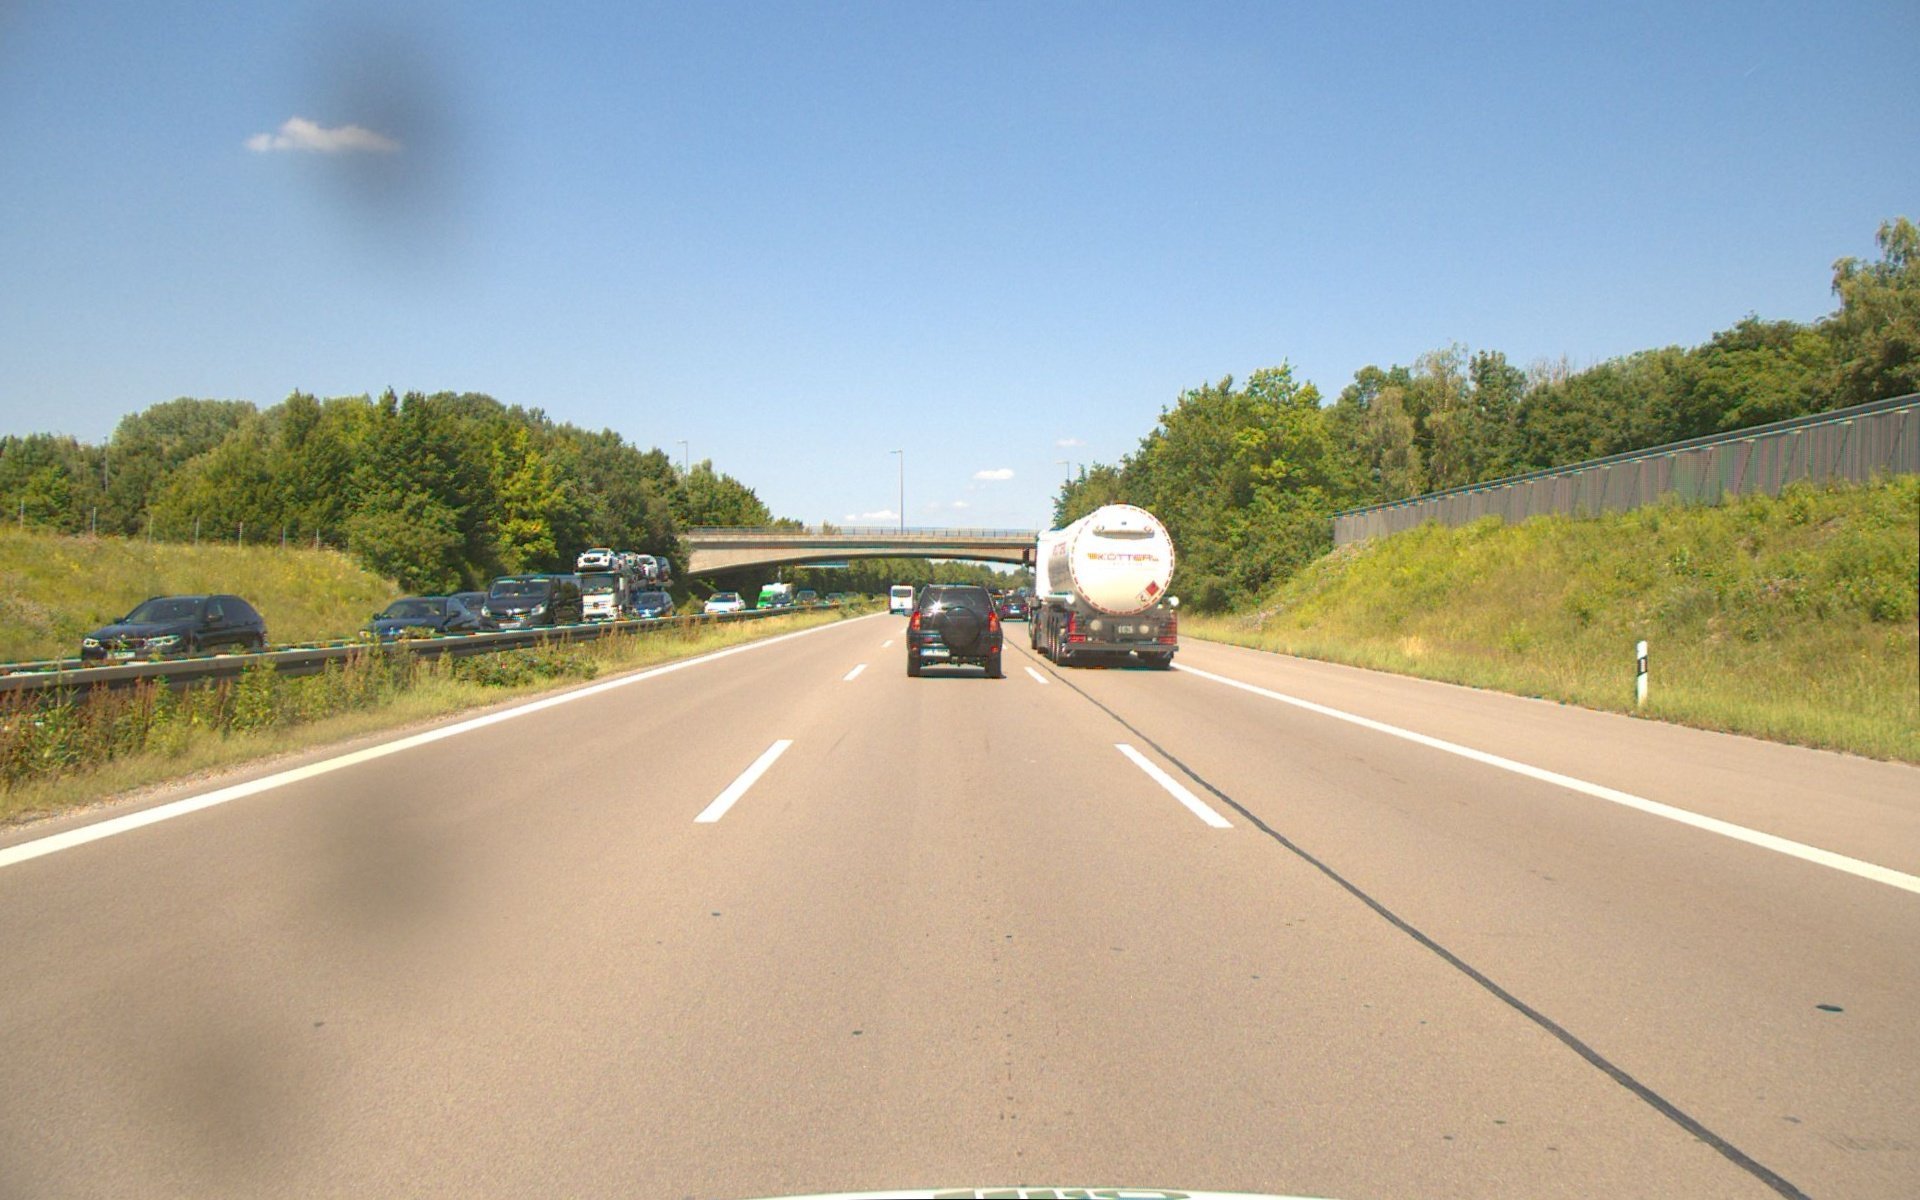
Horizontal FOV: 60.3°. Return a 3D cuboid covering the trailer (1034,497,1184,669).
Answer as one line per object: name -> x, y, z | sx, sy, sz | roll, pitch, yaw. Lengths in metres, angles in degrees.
trailer -> 3.270, -0.354, 39.131 | 2.594, 3.449, 11.152 | 1, 0, 0

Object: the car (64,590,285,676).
car -> -15.260, 0.590, 32.497 | 1.953, 1.536, 5.206 | 0, 0, -1

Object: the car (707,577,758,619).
car -> -11.591, -0.056, 84.639 | 1.953, 2.049, 4.913 | 0, -1, -1

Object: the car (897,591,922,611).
car -> -4.205, 0.117, 138.946 | 1.952, 1.579, 4.000 | 0, -1, 1

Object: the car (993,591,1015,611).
car -> 4.110, 0.050, 154.818 | 1.952, 1.811, 4.261 | 0, 0, 1

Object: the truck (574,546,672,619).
truck -> -20.518, -1.032, 101.980 | 3.147, 4.120, 16.668 | -1, 0, -2

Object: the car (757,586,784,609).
car -> -15.571, -0.184, 136.039 | 1.777, 1.840, 4.381 | 0, 0, -1

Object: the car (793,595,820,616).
car -> -12.291, 0.428, 132.655 | 1.812, 1.601, 4.422 | 0, -1, 0

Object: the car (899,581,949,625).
car -> -1.530, 0.122, 68.529 | 1.953, 1.736, 4.334 | -1, 0, -2

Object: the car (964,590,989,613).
car -> 1.189, 0.126, 120.619 | 1.804, 1.640, 4.000 | 0, -1, 1

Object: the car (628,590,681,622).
car -> -16.130, 0.294, 87.542 | 1.953, 1.642, 4.580 | 0, 0, -1

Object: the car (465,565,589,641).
car -> -11.979, 0.076, 46.201 | 2.047, 1.979, 5.688 | 0, 0, -1

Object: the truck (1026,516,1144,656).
truck -> 3.235, -0.362, 44.283 | 2.584, 3.434, 6.487 | 1, 0, 0

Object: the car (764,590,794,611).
car -> -12.586, 0.039, 115.015 | 1.681, 1.414, 4.000 | 0, 0, 0

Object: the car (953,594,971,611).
car -> 0.197, 0.240, 175.854 | 1.953, 1.780, 4.204 | 0, 0, 0

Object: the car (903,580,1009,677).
car -> -0.098, 0.506, 31.146 | 1.868, 1.694, 3.999 | 0, 0, -1

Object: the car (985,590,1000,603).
car -> 4.333, -0.442, 221.390 | 1.775, 1.777, 3.999 | 0, 0, -2

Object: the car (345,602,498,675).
car -> -11.870, 0.805, 36.844 | 1.836, 1.464, 5.017 | 0, 0, -1

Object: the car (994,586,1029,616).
car -> 3.049, 0.082, 98.314 | 1.953, 1.713, 3.999 | 0, -1, -1

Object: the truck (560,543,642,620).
truck -> -20.225, -1.039, 93.614 | 3.175, 4.120, 7.392 | -1, 0, -2

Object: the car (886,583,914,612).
car -> -4.393, -0.196, 121.073 | 1.953, 2.049, 4.948 | -1, 0, -2
